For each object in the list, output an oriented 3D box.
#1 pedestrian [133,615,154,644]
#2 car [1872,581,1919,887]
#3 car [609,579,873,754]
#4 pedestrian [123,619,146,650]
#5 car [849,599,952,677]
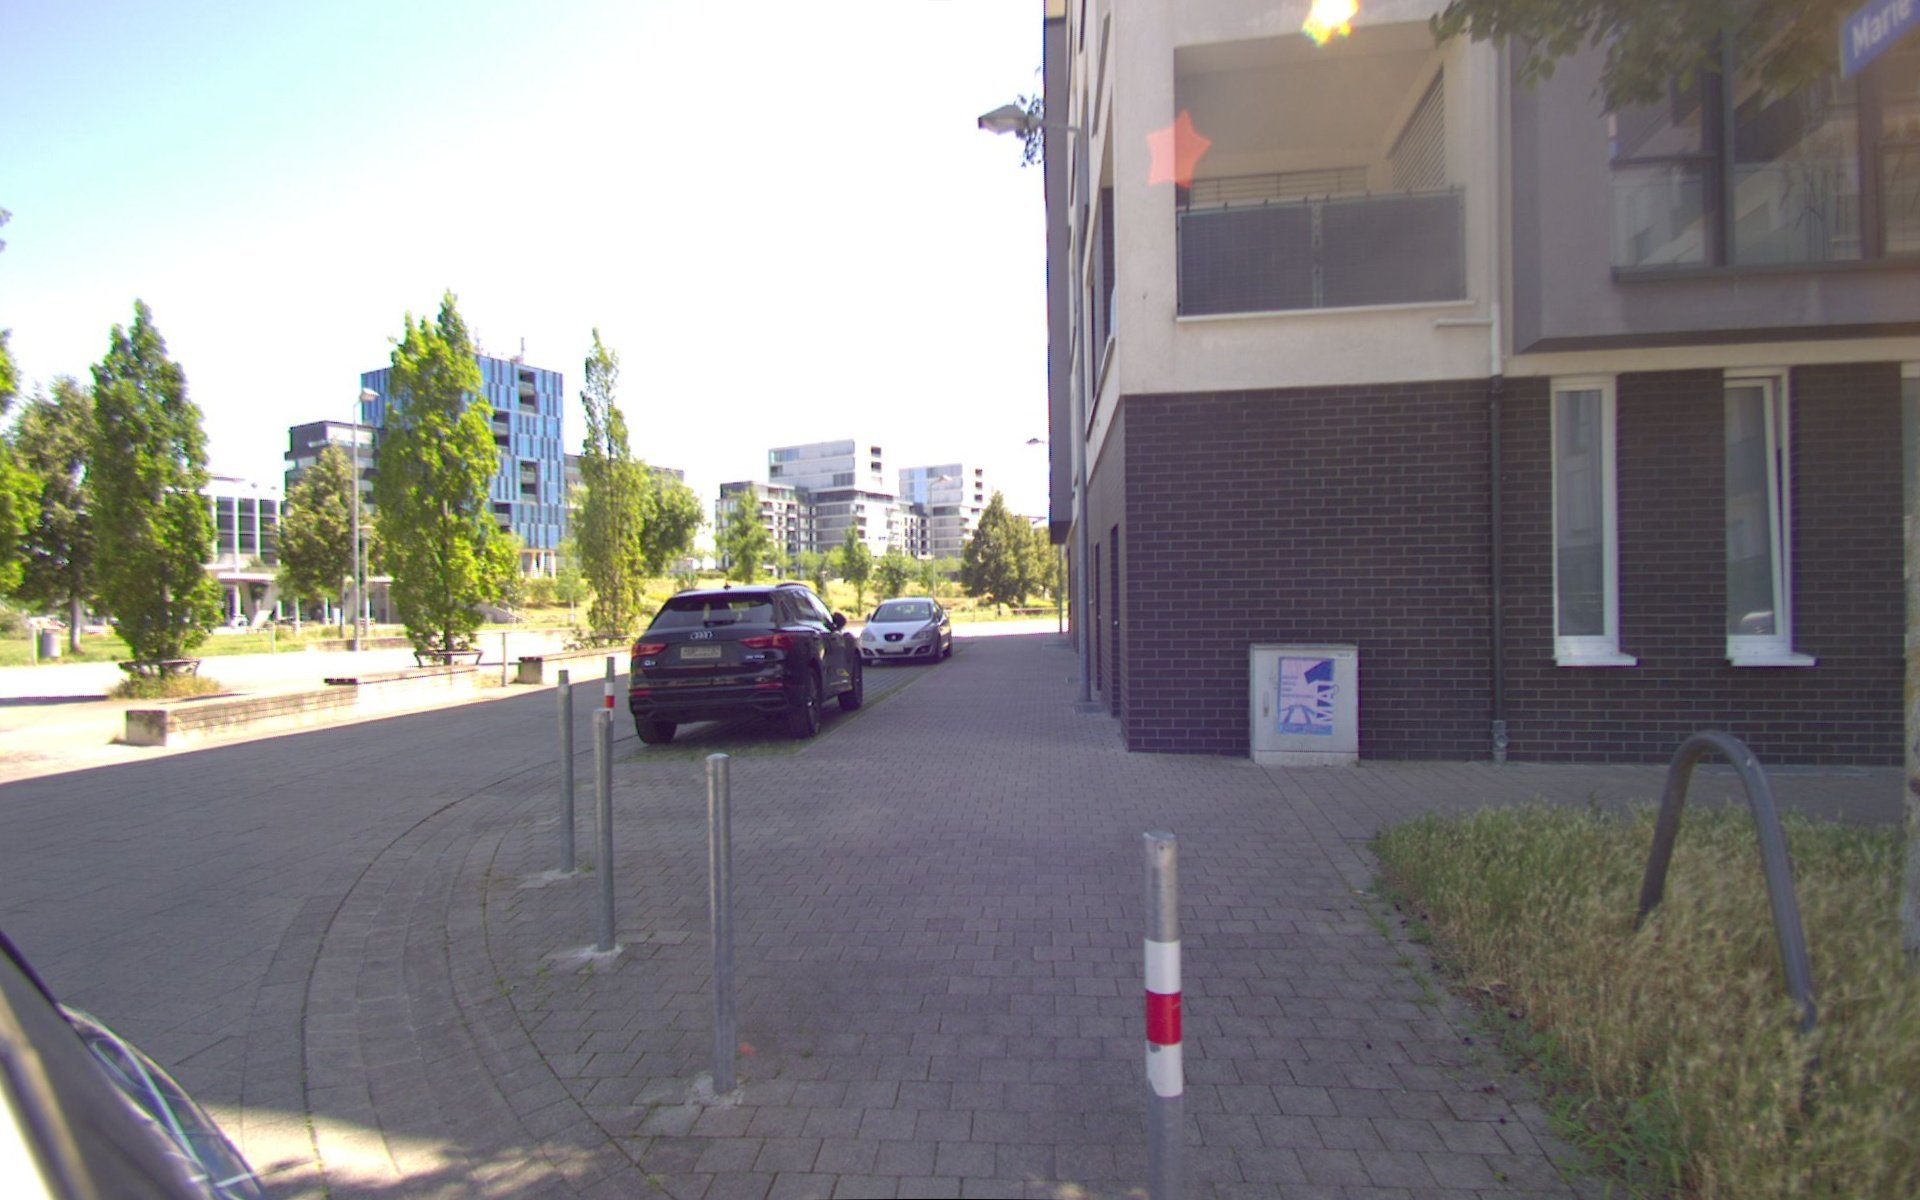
[{"bbox_3d":[-49.430,1.764,61.286,0.801,1.740,0.617,-1,-1,-16],"label":"pedestrian"},{"bbox_3d":[5.369,0.646,2.574,1.905,1.496,5.104,0,0,7],"label":"car"},{"bbox_3d":[-2.209,0.636,11.485,1.756,1.531,4.391,-3,-1,4],"label":"car"},{"bbox_3d":[-47.414,1.981,58.125,0.801,1.740,0.617,-1,-1,-16],"label":"pedestrian"},{"bbox_3d":[-1.254,0.811,23.027,1.765,1.516,4.109,-3,-1,4],"label":"car"}]
